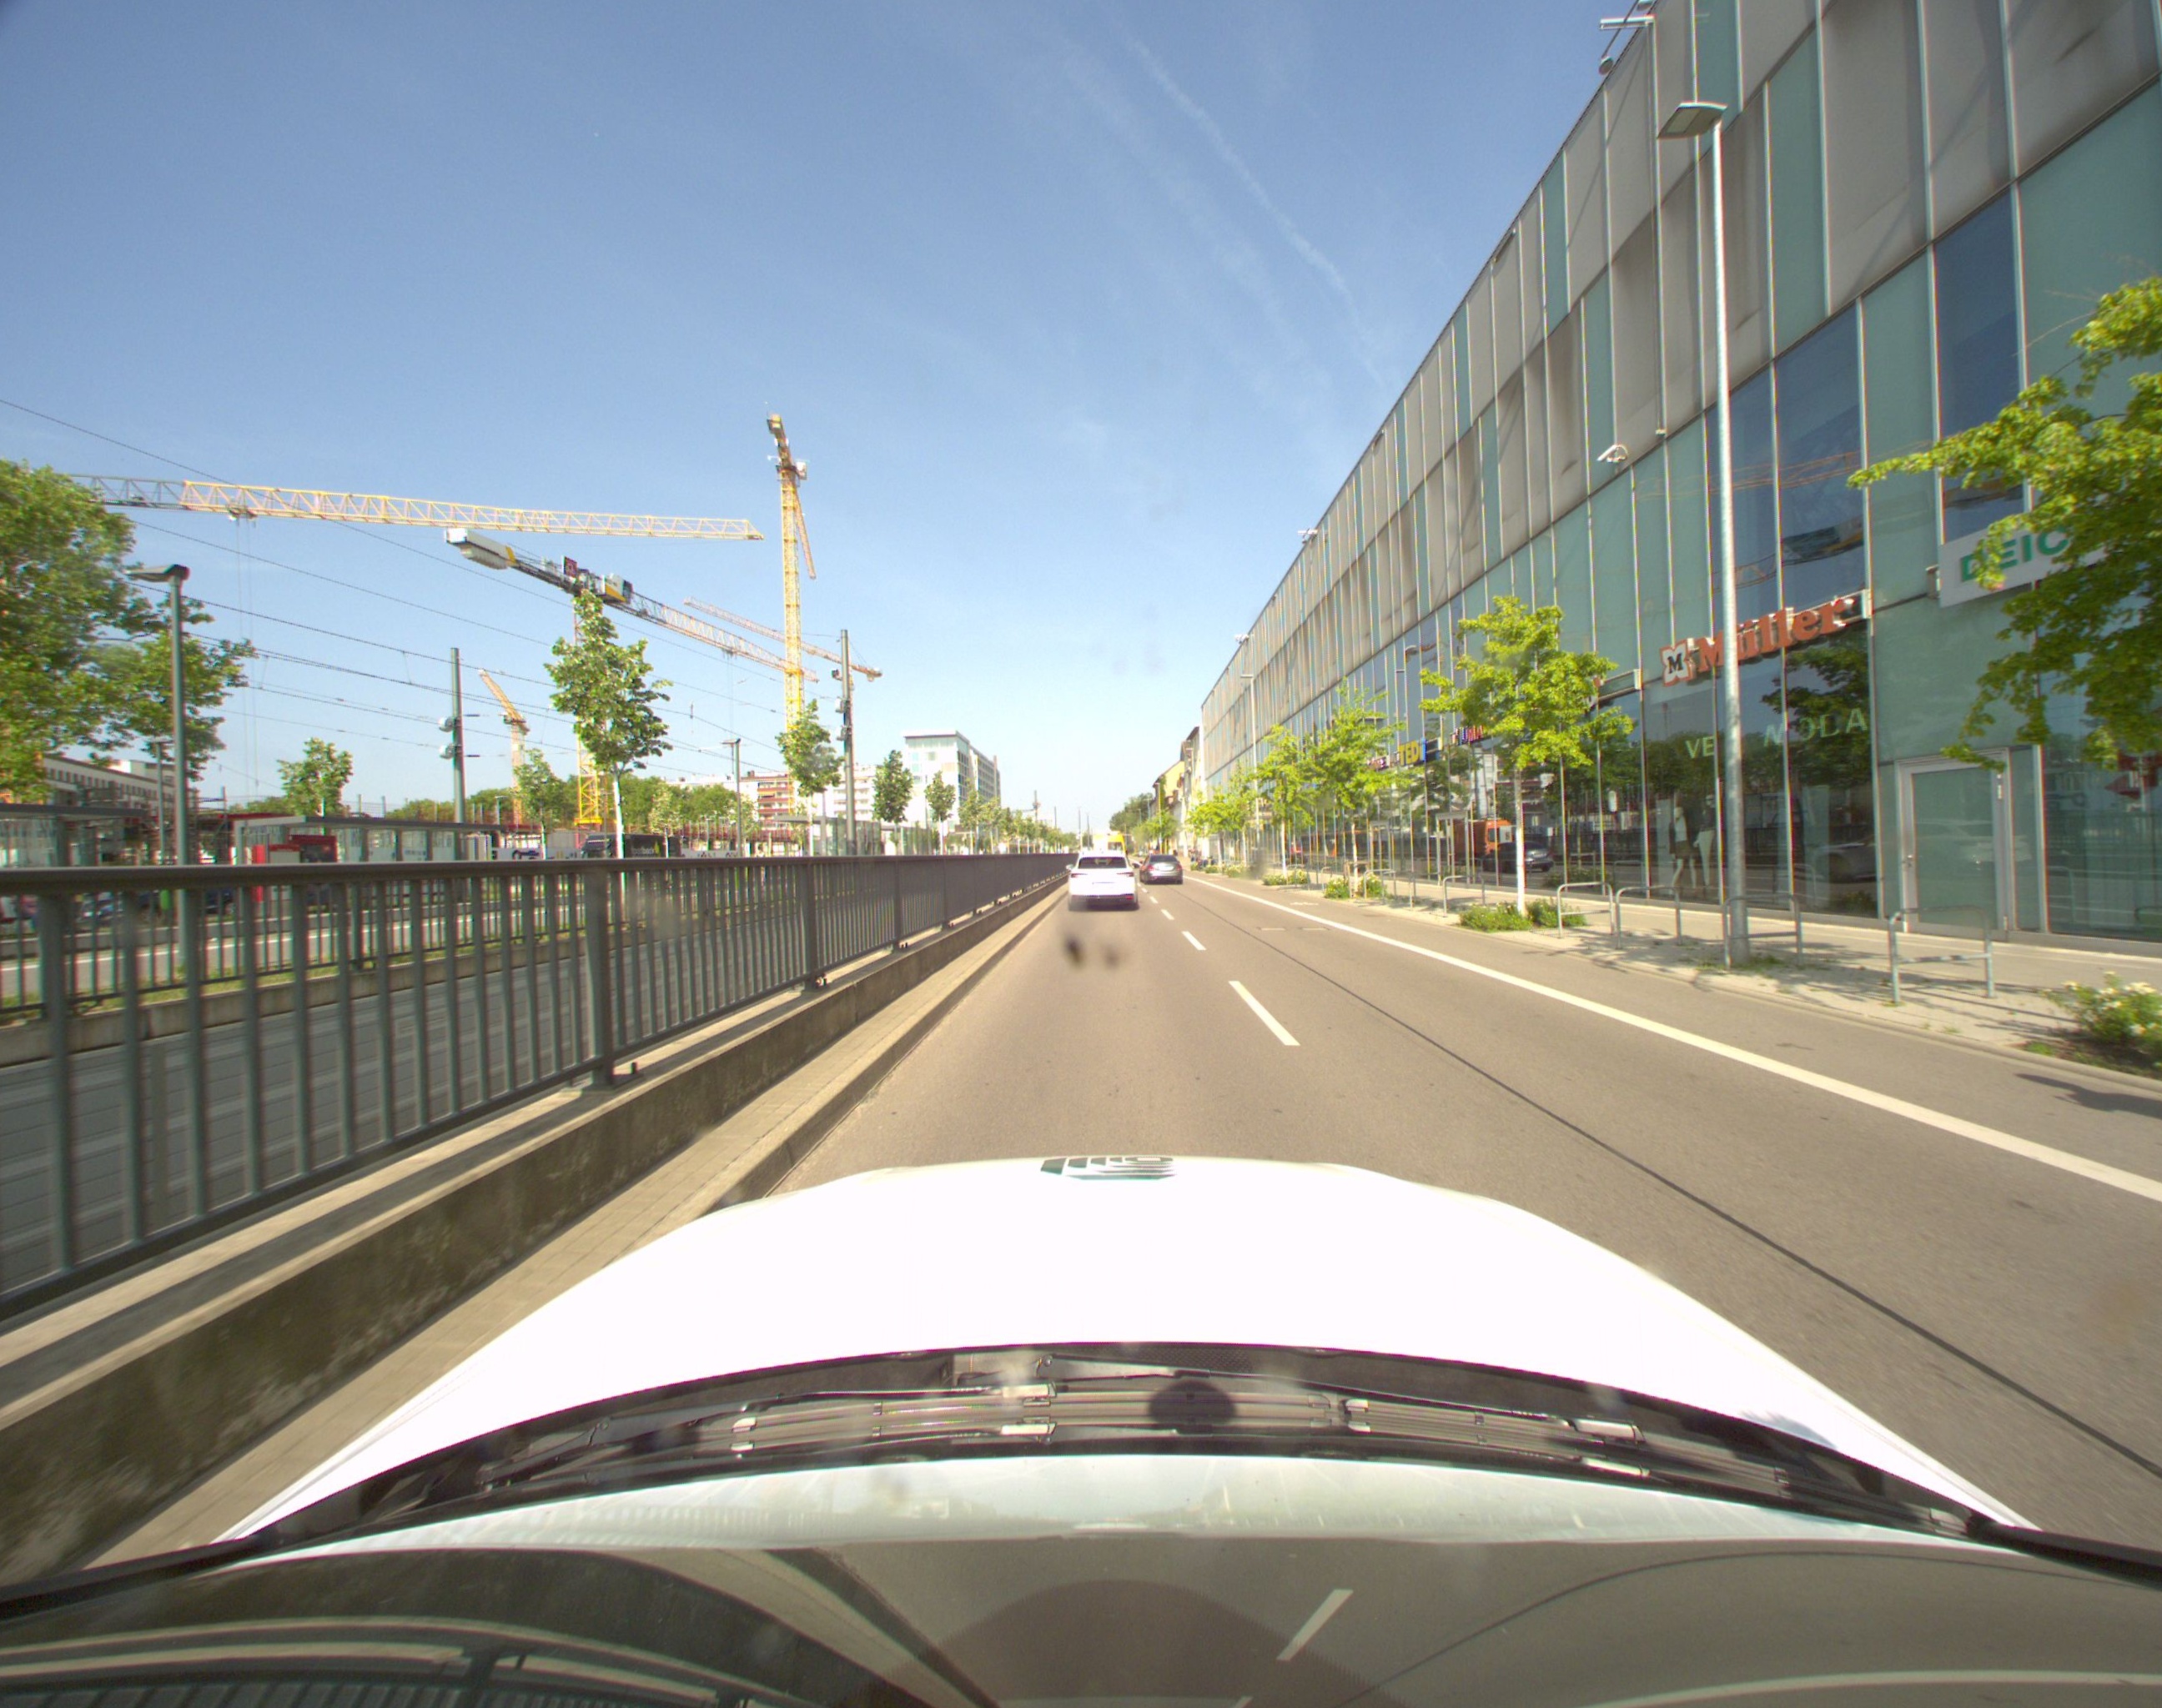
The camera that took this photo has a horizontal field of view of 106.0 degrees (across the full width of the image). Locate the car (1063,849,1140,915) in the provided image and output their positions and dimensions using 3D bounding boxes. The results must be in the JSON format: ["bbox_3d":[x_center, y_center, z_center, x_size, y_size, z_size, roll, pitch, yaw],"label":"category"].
[{"bbox_3d":[0.598,0.679,22.369,1.862,1.574,4.002,-2,0,2],"label":"car"}]

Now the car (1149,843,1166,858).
[{"bbox_3d":[10.990,-0.531,116.669,2.055,2.013,4.590,-2,1,2],"label":"car"}]

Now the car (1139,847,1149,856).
[{"bbox_3d":[12.336,-0.493,160.152,1.806,1.812,3.837,-2,1,2],"label":"car"}]

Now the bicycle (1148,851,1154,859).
[{"bbox_3d":[8.275,0.126,96.126,0.652,0.938,1.519,-2,0,4],"label":"bicycle"}]

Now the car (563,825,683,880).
[{"bbox_3d":[-32.046,-0.134,57.576,3.043,3.512,9.237,-1,0,1],"label":"car"}]

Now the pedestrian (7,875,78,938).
[{"bbox_3d":[-22.291,1.116,17.488,0.678,1.300,0.592,-2,0,-2],"label":"pedestrian"}]

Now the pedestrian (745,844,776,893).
[{"bbox_3d":[-10.858,0.477,27.608,0.733,1.619,0.711,-2,0,1],"label":"pedestrian"}]

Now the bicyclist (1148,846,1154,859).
[{"bbox_3d":[8.256,-0.169,95.995,0.636,1.577,0.772,-2,0,4],"label":"bicyclist"}]

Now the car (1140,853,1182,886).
[{"bbox_3d":[3.765,0.696,39.000,1.753,1.436,4.118,0,1,2],"label":"car"}]

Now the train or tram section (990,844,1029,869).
[{"bbox_3d":[-10.828,0.337,126.264,2.892,3.676,18.162,0,0,5],"label":"train or tram section"}]

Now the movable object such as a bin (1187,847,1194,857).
[{"bbox_3d":[13.727,-0.242,101.955,0.674,1.152,0.610,-3,3,-42],"label":"movable object such as a bin"}]

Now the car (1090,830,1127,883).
[{"bbox_3d":[1.647,0.060,48.311,2.012,2.795,5.405,-2,2,2],"label":"car"}]

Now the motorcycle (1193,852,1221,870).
[{"bbox_3d":[9.604,0.533,62.102,1.968,1.349,0.865,-2,0,-9],"label":"motorcycle"}]
